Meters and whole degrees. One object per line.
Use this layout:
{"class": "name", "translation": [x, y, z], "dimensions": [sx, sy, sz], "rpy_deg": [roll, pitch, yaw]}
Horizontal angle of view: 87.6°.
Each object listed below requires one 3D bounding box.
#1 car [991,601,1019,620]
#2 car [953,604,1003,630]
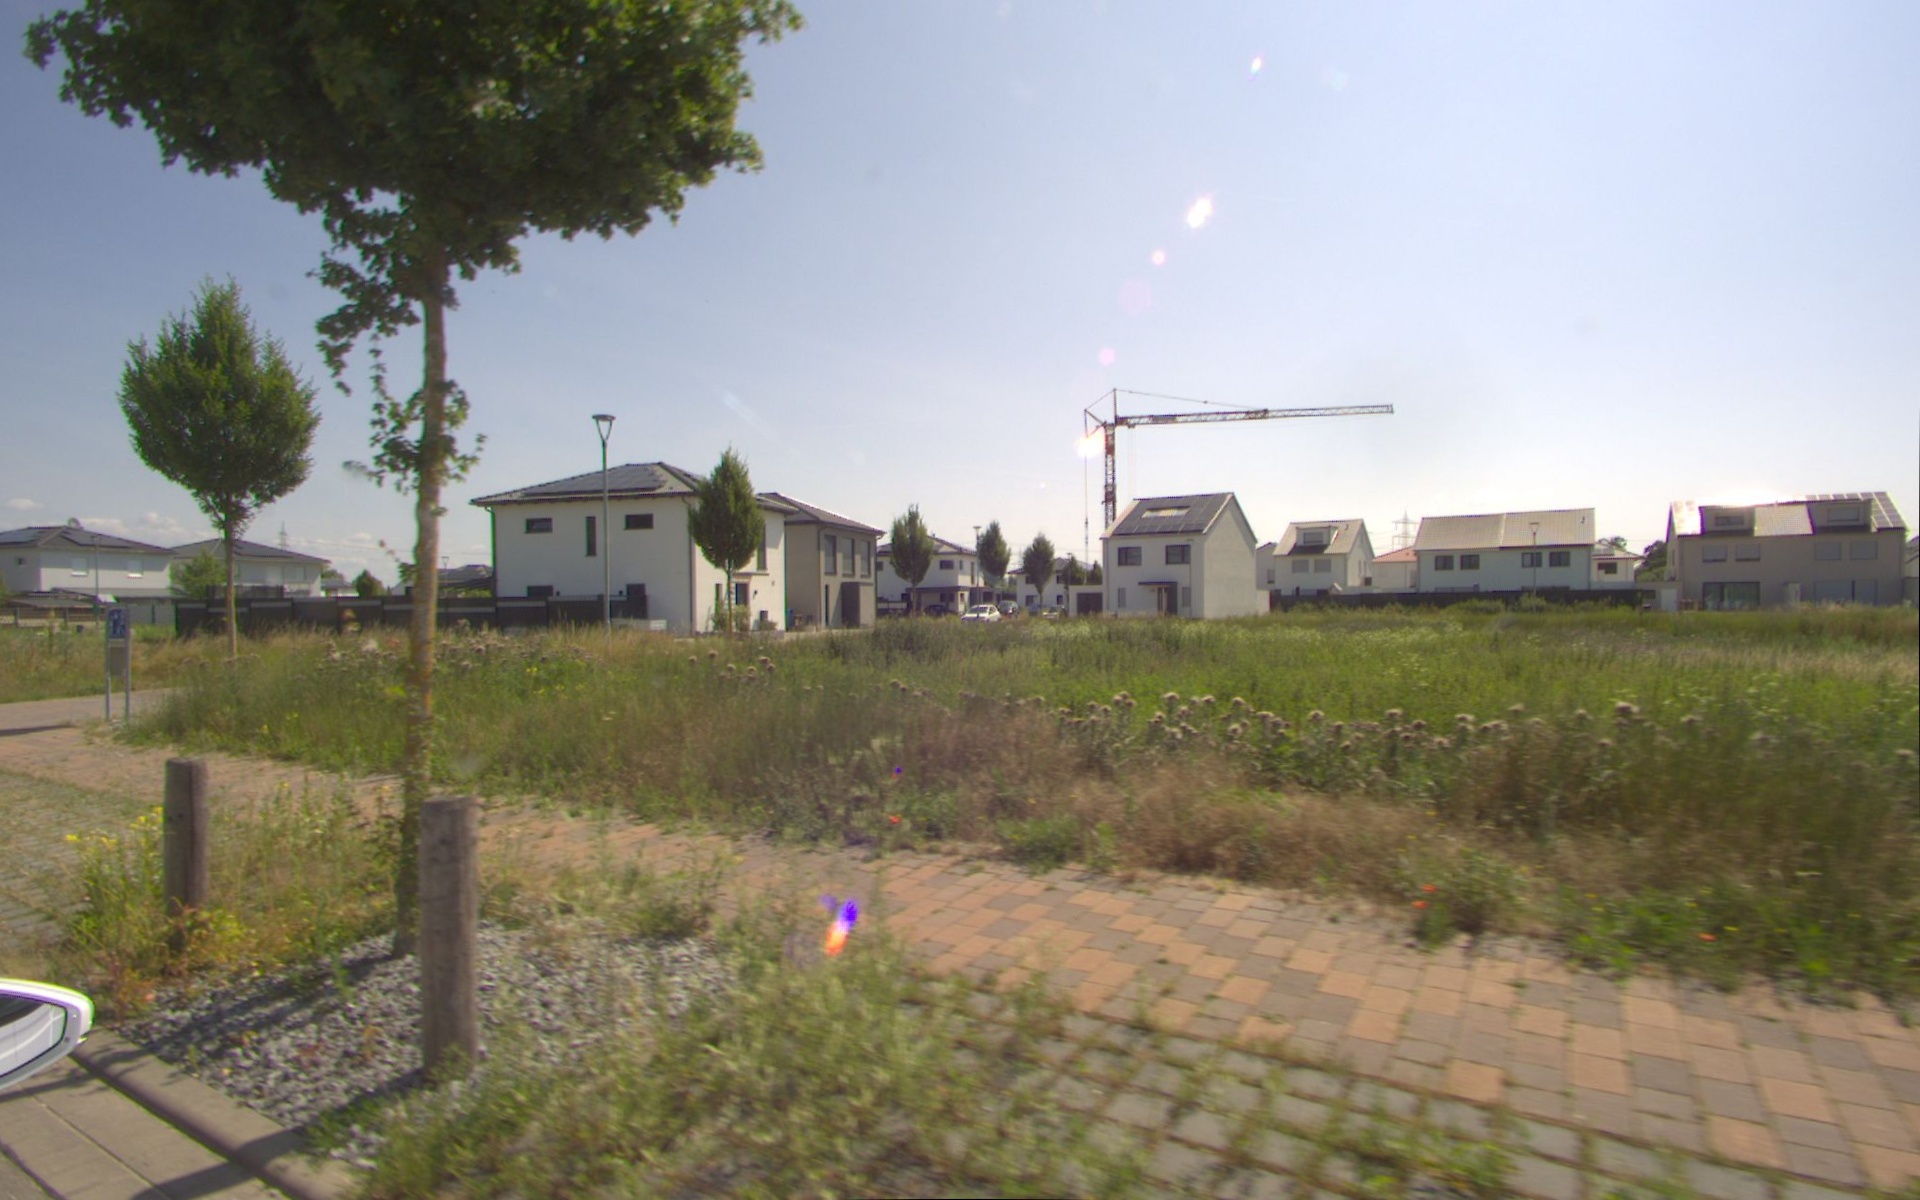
{"class": "car", "translation": [4.307, 0.994, 95.235], "dimensions": [1.794, 1.776, 4.236], "rpy_deg": [0, 0, 14]}
{"class": "car", "translation": [1.093, 0.960, 57.651], "dimensions": [1.720, 1.416, 3.993], "rpy_deg": [-1, -1, 19]}
